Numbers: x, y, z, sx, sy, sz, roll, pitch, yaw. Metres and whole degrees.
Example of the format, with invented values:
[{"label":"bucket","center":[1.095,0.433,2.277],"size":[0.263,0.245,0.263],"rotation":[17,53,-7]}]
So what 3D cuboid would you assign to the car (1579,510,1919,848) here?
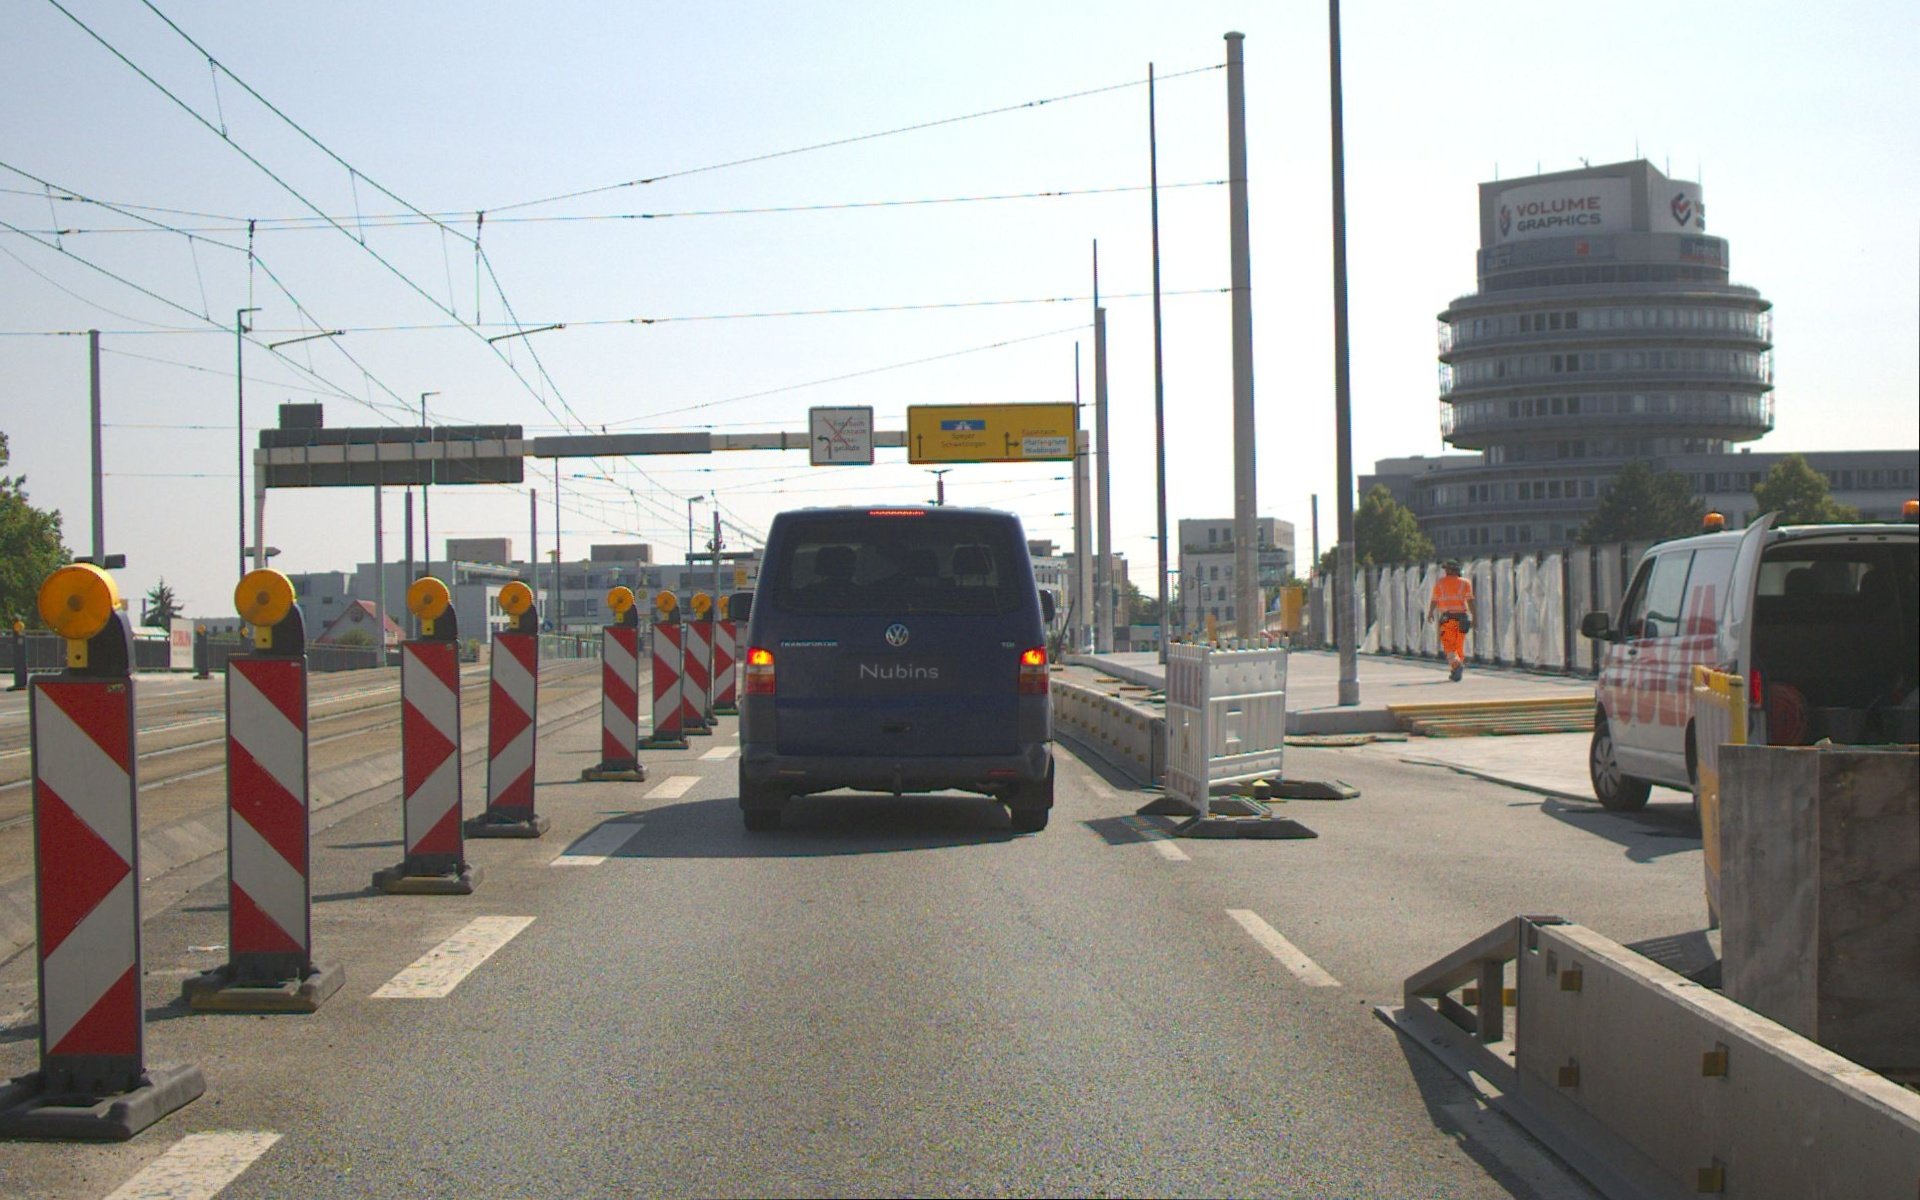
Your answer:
[{"label":"car","center":[5.517,0.486,23.090],"size":[1.878,2.026,4.891],"rotation":[0,0,0]}]

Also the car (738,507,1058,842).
[{"label":"car","center":[-0.411,0.407,21.827],"size":[1.815,1.899,4.055],"rotation":[-1,1,-2]}]

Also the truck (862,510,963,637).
[{"label":"truck","center":[-1.273,-0.720,91.516],"size":[2.460,3.124,11.216],"rotation":[-1,1,-1]}]

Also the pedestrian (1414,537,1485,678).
[{"label":"pedestrian","center":[6.855,0.112,48.175],"size":[0.782,1.928,0.799],"rotation":[-2,-1,-1]}]
